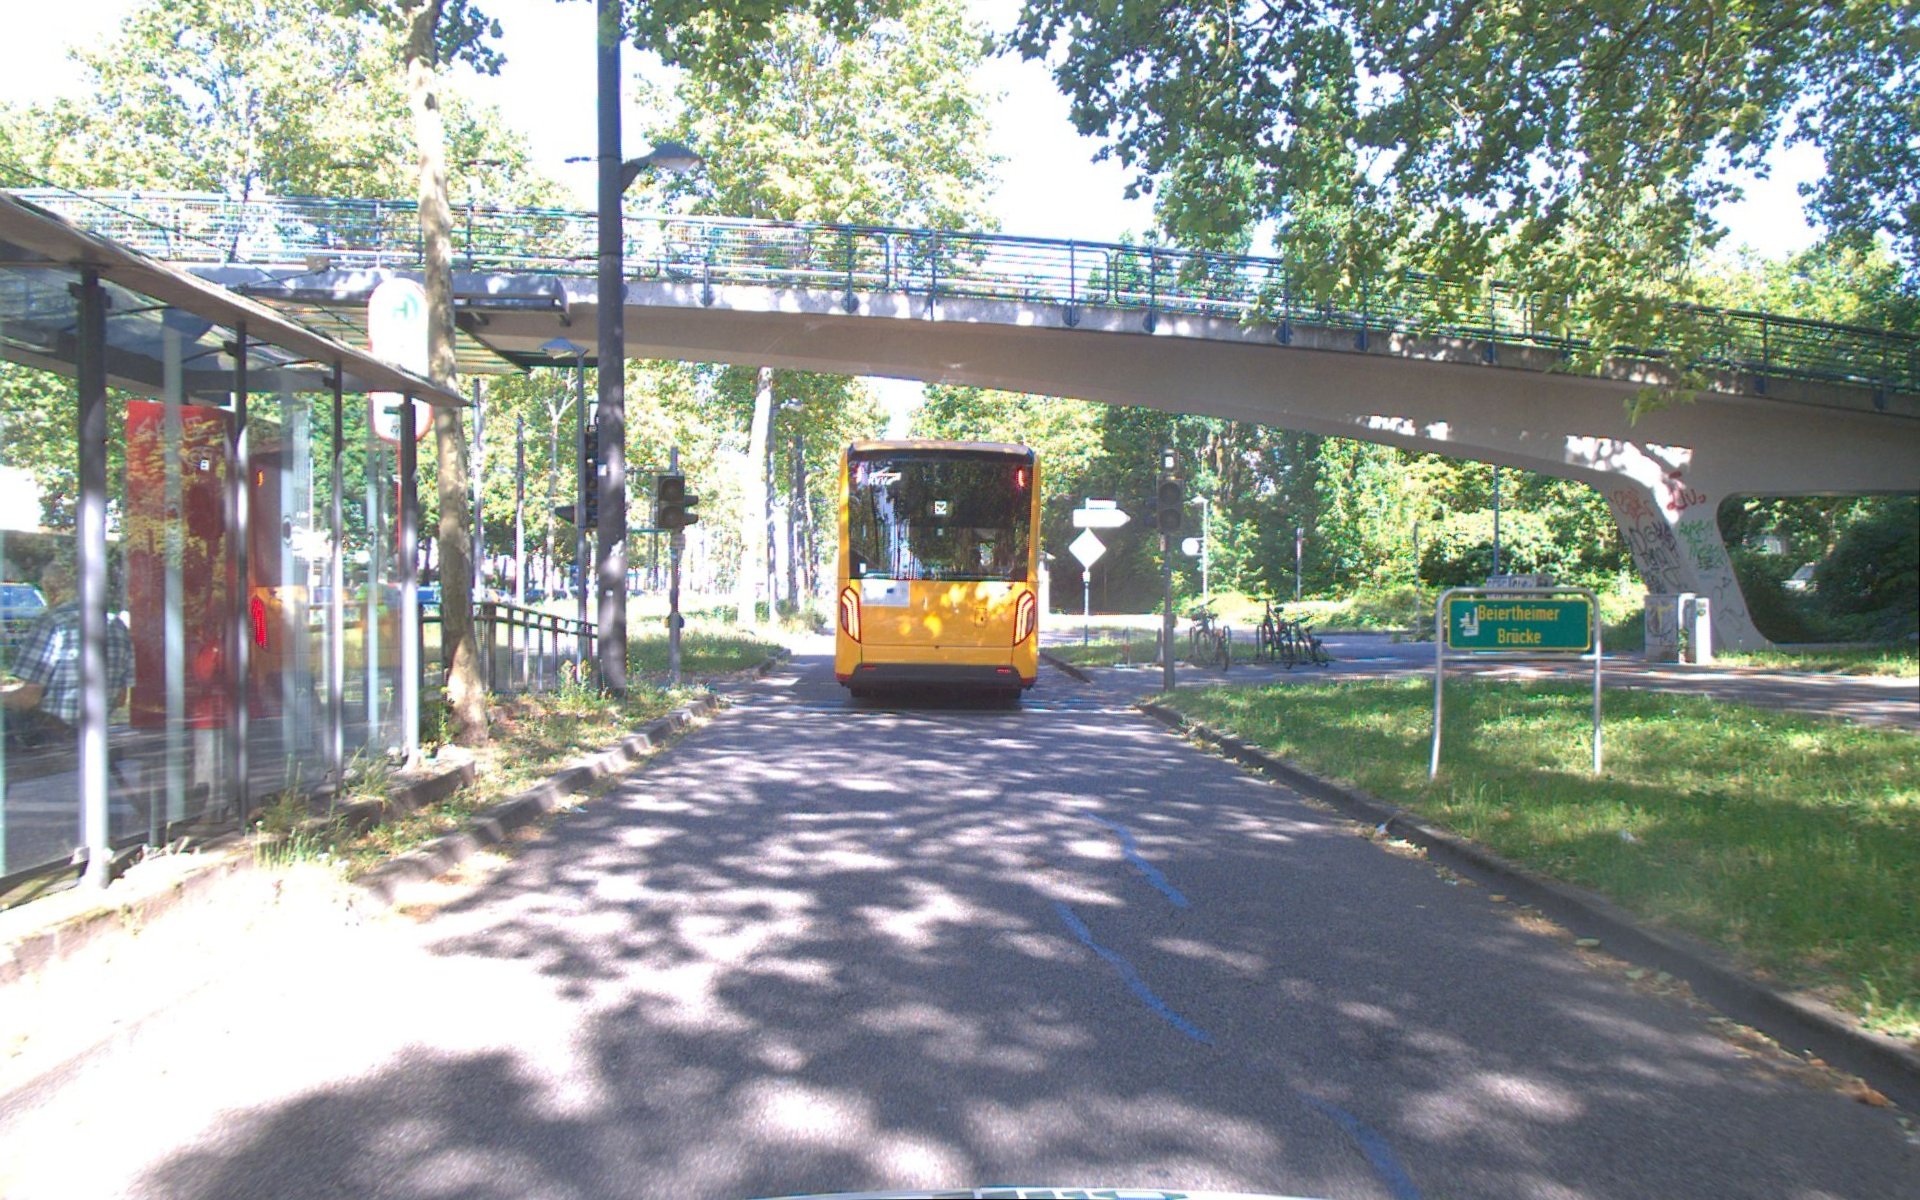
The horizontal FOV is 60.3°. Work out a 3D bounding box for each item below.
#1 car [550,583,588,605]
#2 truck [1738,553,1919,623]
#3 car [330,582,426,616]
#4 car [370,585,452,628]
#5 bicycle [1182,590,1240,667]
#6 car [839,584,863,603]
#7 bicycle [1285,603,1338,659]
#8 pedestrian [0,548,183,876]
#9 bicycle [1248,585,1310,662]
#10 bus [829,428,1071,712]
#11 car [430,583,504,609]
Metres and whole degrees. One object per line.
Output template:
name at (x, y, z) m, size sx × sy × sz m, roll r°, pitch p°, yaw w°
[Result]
car at (-28.865, -0.452, 122.100) m, size 1.757 × 1.536 × 4.001 m, roll 0°, pitch 1°, yaw 1°
truck at (28.145, -0.381, 52.159) m, size 6.503 × 2.131 × 2.116 m, roll -1°, pitch 0°, yaw -9°
car at (-27.806, -0.057, 79.114) m, size 1.768 × 1.536 × 3.977 m, roll 0°, pitch 1°, yaw 41°
car at (-20.325, 0.217, 61.431) m, size 1.759 × 1.536 × 4.671 m, roll 0°, pitch 1°, yaw -4°
bicycle at (4.240, 0.462, 28.085) m, size 0.578 × 1.203 × 1.799 m, roll -3°, pitch 1°, yaw -2°
car at (-10.435, -0.637, 158.920) m, size 1.946 × 1.672 × 4.133 m, roll 2°, pitch 1°, yaw 0°
bicycle at (5.981, 0.517, 28.183) m, size 0.495 × 0.867 × 1.473 m, roll -3°, pitch 1°, yaw -2°
pedestrian at (-3.828, 0.424, 6.809) m, size 0.837 × 1.264 × 0.850 m, roll 1°, pitch 0°, yaw 0°
bicycle at (5.409, 0.377, 28.104) m, size 0.578 × 1.203 × 1.799 m, roll -3°, pitch 1°, yaw -2°
bus at (-0.372, -0.409, 25.559) m, size 2.842 × 3.324 × 12.212 m, roll 0°, pitch 0°, yaw -2°
car at (-29.698, -0.253, 99.630) m, size 1.768 × 1.536 × 3.977 m, roll 0°, pitch 1°, yaw 41°
